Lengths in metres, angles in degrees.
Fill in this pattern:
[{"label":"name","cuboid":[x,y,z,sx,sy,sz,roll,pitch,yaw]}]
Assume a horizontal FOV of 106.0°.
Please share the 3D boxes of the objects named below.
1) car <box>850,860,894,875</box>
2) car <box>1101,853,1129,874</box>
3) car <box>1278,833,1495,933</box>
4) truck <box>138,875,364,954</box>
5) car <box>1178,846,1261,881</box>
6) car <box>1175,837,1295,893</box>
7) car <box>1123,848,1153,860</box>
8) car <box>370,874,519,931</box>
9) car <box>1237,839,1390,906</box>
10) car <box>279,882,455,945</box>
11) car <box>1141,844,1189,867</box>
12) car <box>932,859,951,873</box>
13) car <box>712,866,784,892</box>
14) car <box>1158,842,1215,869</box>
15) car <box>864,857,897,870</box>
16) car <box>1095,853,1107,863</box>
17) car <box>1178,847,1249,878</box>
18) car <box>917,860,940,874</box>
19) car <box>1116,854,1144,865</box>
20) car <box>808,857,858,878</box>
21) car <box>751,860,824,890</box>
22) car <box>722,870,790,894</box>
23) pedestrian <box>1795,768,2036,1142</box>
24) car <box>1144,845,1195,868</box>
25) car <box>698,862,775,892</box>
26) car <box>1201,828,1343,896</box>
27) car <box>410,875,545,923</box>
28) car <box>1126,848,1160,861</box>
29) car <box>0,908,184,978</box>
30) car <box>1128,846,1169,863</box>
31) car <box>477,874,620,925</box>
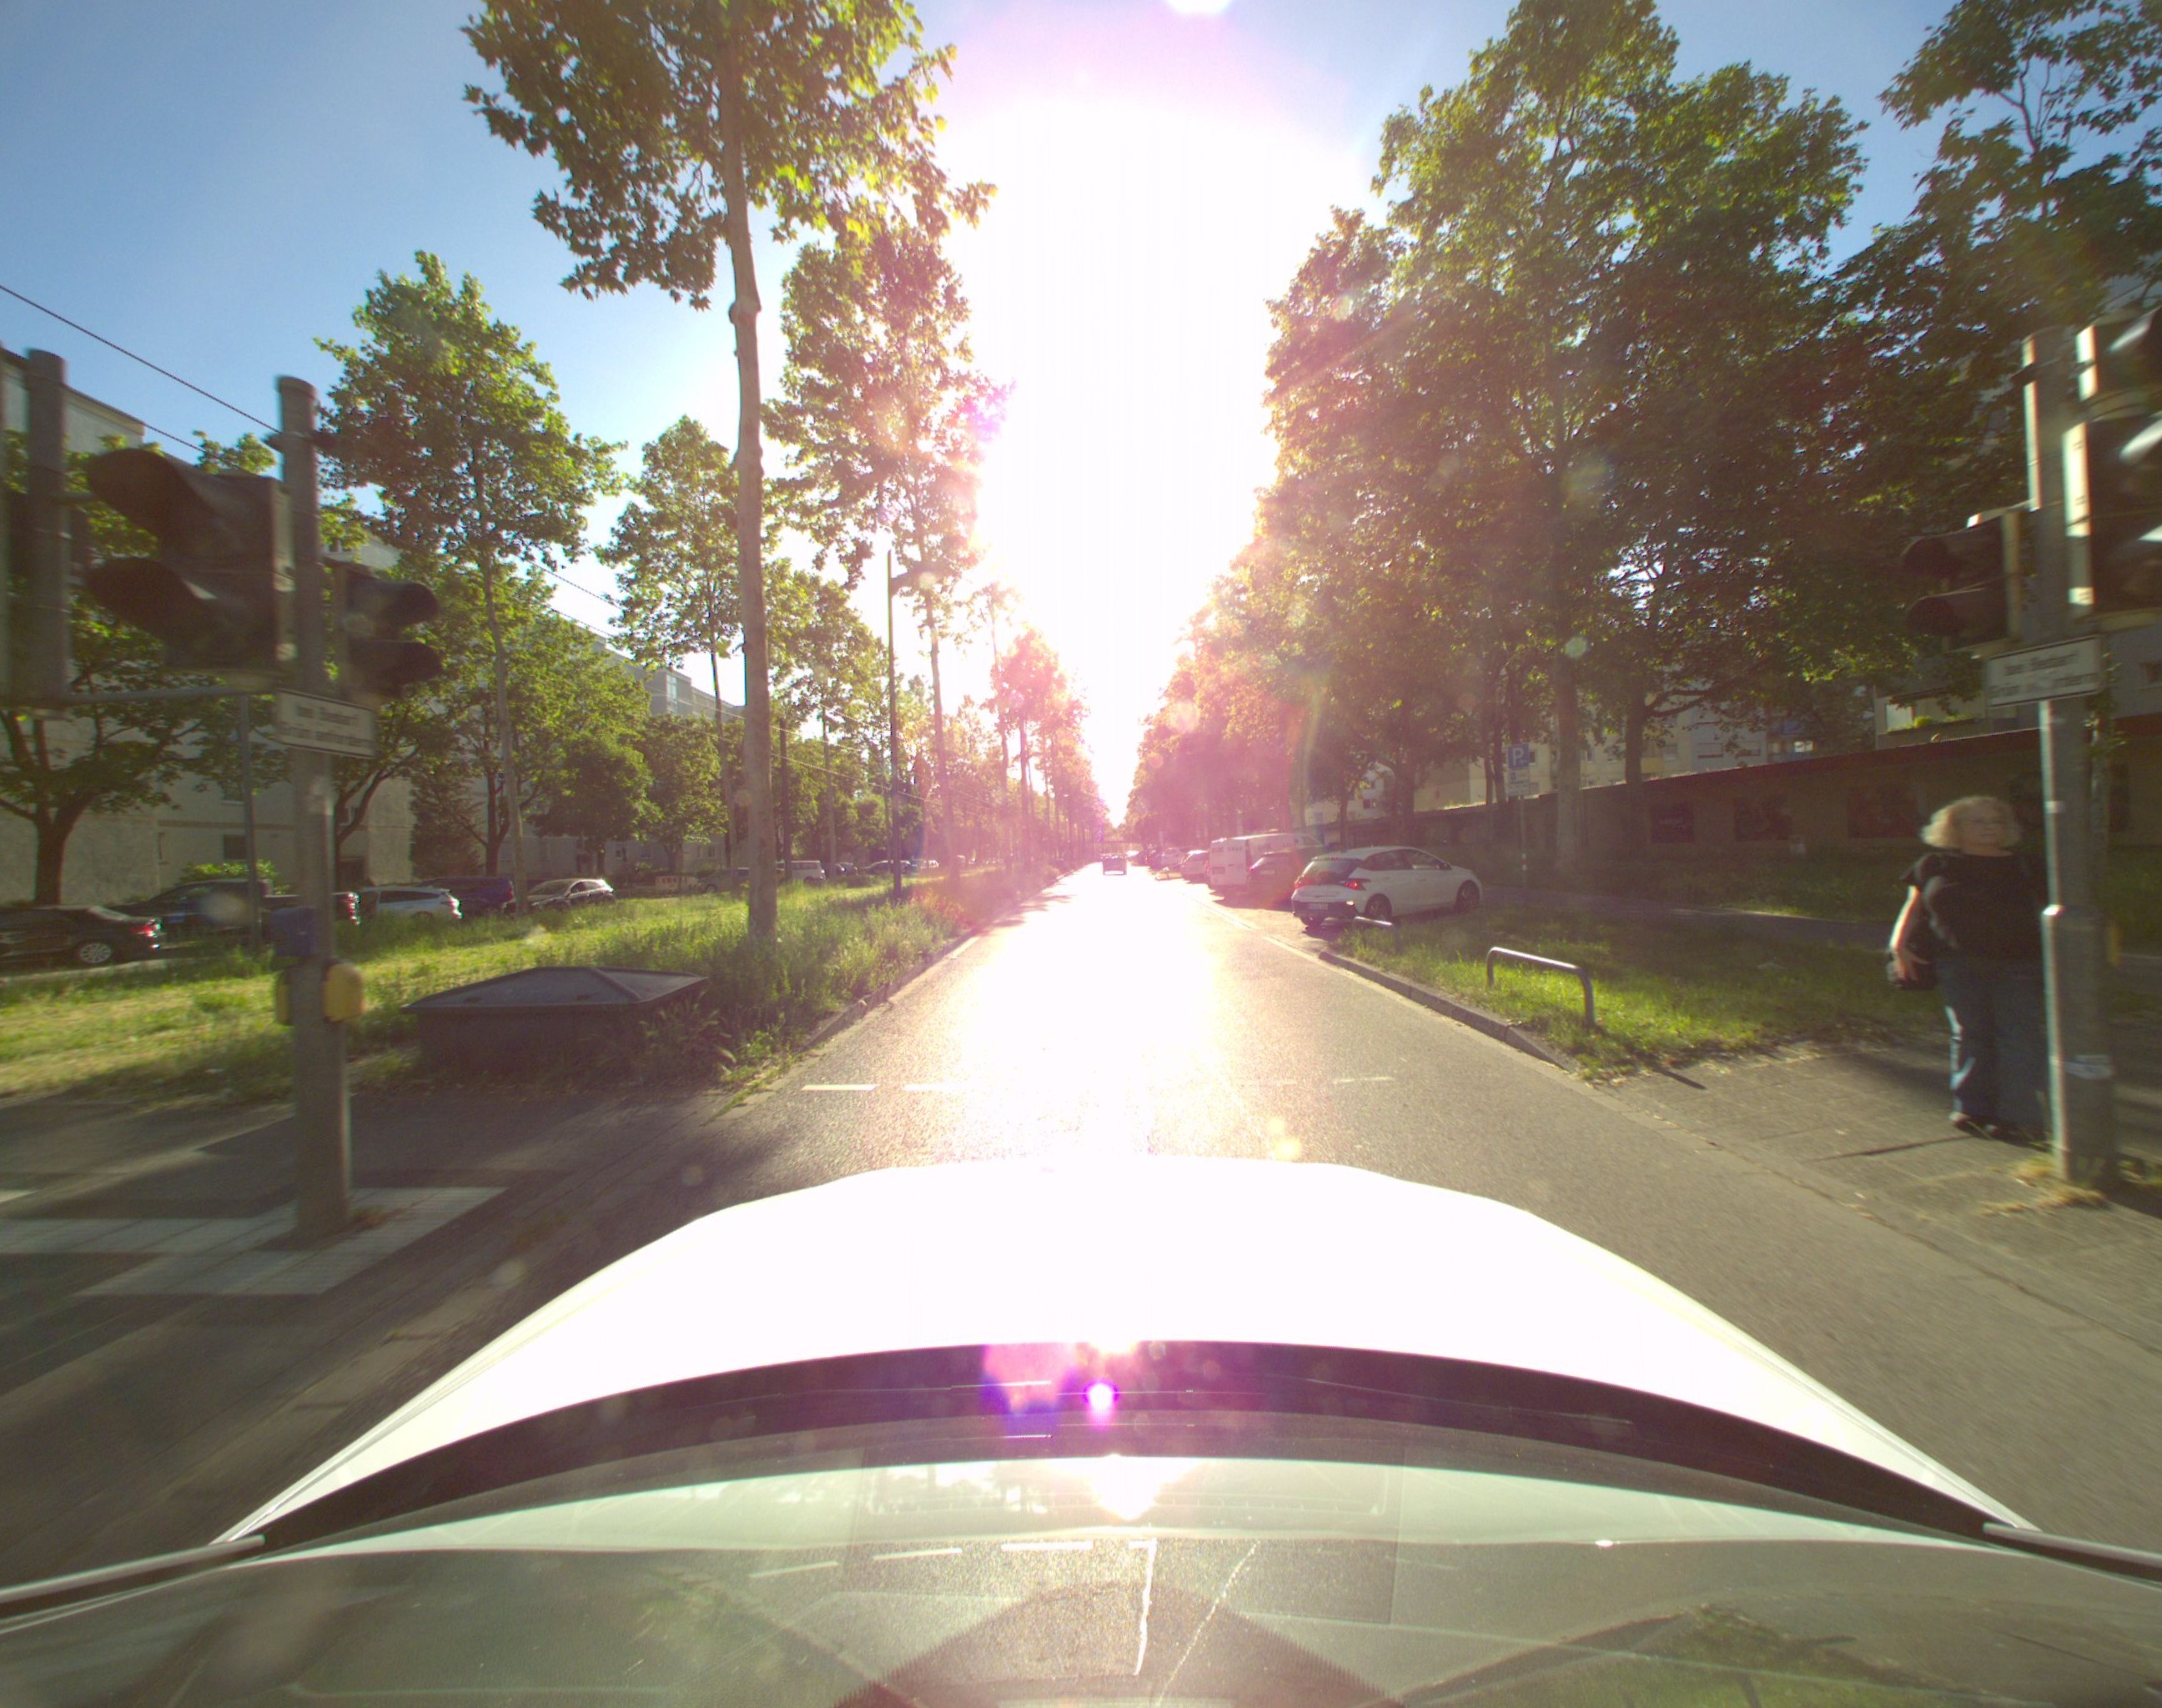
[{"label":"car","cuboid":[-22.308,1.430,86.996,4.154,1.337,1.774,-3,2,-41]},{"label":"car","cuboid":[2.412,0.653,58.308,1.915,1.411,4.001,-2,0,1]},{"label":"car","cuboid":[5.982,0.499,15.862,4.011,1.469,1.744,-5,1,-30]},{"label":"truck","cuboid":[-22.772,1.653,22.577,4.102,1.775,1.633,-3,-6,-34]},{"label":"car","cuboid":[6.819,0.432,39.889,4.208,1.412,1.699,-4,0,-42]},{"label":"car","cuboid":[5.675,0.370,29.732,4.526,1.705,1.740,-4,0,-40]},{"label":"car","cuboid":[8.249,0.054,117.372,4.354,1.424,1.834,-4,0,-42]},{"label":"car","cuboid":[-23.281,1.700,29.878,4.109,1.645,1.631,-3,3,-44]},{"label":"car","cuboid":[6.413,0.470,22.359,4.014,1.429,1.780,-5,1,-33]},{"label":"car","cuboid":[-23.008,1.839,26.348,1.630,1.646,4.110,-1,1,43]},{"label":"car","cuboid":[7.480,0.107,72.285,4.105,1.810,1.632,-4,0,-38]},{"label":"car","cuboid":[-20.994,1.778,122.662,1.638,2.093,4.919,0,0,4]},{"label":"car","cuboid":[-22.172,1.654,54.254,4.107,1.483,1.632,-3,0,-40]},{"label":"car","cuboid":[7.630,0.103,58.632,4.049,1.705,1.740,-4,0,-40]},{"label":"car","cuboid":[-27.228,1.270,110.801,3.942,1.487,1.774,-3,0,-41]},{"label":"car","cuboid":[3.448,0.643,140.300,1.842,1.535,3.868,-2,0,2]},{"label":"car","cuboid":[7.152,0.454,43.703,3.961,1.373,1.568,-4,0,-42]},{"label":"car","cuboid":[-16.829,1.424,90.090,1.640,1.485,3.850,-3,-1,1]},{"label":"car","cuboid":[8.182,0.913,136.099,4.652,1.459,1.955,-3,0,-45]},{"label":"car","cuboid":[-21.603,1.168,71.098,4.082,1.607,1.984,-2,1,-17]},{"label":"car","cuboid":[-22.161,1.544,61.533,4.821,2.006,1.871,-3,1,-37]},{"label":"car","cuboid":[-22.859,1.961,57.293,4.107,1.432,1.561,-3,-2,-40]},{"label":"pedestrian","cuboid":[4.269,0.449,4.178,0.715,1.706,0.647,-4,-1,-33]},{"label":"car","cuboid":[6.774,0.188,62.117,3.809,1.470,1.631,-4,0,-42]},{"label":"car","cuboid":[-21.628,1.418,51.159,4.107,1.646,1.632,-3,-1,-40]},{"label":"car","cuboid":[6.178,0.230,26.080,4.694,1.853,1.809,-4,0,-39]},{"label":"car","cuboid":[-24.075,1.753,32.604,1.631,1.475,4.110,3,4,44]},{"label":"car","cuboid":[8.180,0.071,107.121,4.519,1.443,1.834,-4,0,-42]},{"label":"car","cuboid":[-23.527,2.051,18.591,3.846,1.246,1.819,-3,1,-41]},{"label":"car","cuboid":[7.158,0.044,86.496,4.341,1.717,1.617,-3,0,-38]},{"label":"car","cuboid":[-18.249,1.515,28.179,1.985,1.389,4.172,-3,0,4]}]
